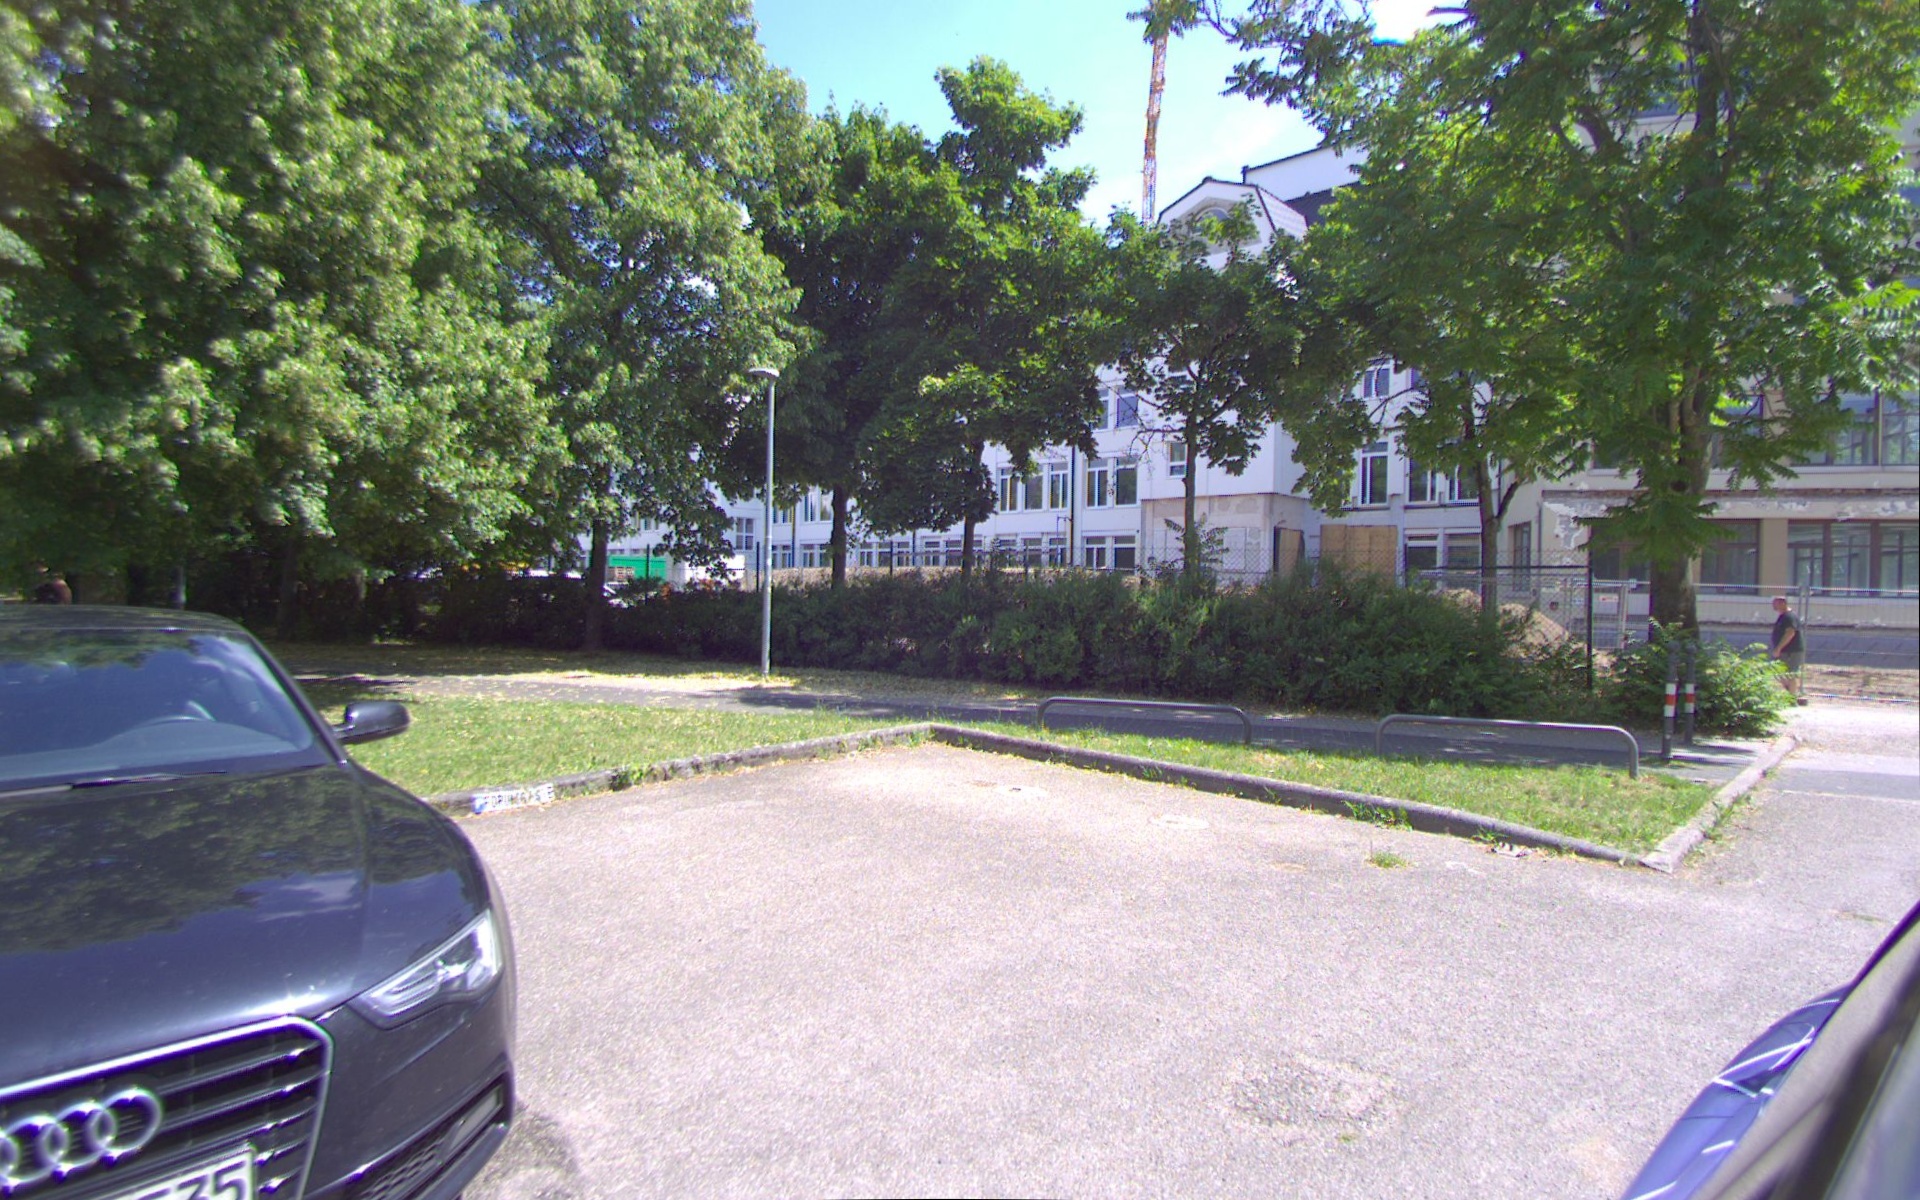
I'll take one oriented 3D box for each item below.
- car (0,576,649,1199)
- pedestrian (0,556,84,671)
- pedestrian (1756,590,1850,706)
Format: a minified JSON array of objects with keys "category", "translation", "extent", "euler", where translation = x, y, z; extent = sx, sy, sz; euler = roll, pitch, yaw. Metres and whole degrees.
[{"category":"car","translation":[-2.987,0.618,3.253],"extent":[4.612,1.369,1.804],"euler":[2,0,44]},{"category":"pedestrian","translation":[-13.135,0.176,14.473],"extent":[0.745,1.584,0.732],"euler":[1,0,33]},{"category":"pedestrian","translation":[13.991,0.766,16.835],"extent":[0.957,1.842,0.863],"euler":[1,0,25]}]
